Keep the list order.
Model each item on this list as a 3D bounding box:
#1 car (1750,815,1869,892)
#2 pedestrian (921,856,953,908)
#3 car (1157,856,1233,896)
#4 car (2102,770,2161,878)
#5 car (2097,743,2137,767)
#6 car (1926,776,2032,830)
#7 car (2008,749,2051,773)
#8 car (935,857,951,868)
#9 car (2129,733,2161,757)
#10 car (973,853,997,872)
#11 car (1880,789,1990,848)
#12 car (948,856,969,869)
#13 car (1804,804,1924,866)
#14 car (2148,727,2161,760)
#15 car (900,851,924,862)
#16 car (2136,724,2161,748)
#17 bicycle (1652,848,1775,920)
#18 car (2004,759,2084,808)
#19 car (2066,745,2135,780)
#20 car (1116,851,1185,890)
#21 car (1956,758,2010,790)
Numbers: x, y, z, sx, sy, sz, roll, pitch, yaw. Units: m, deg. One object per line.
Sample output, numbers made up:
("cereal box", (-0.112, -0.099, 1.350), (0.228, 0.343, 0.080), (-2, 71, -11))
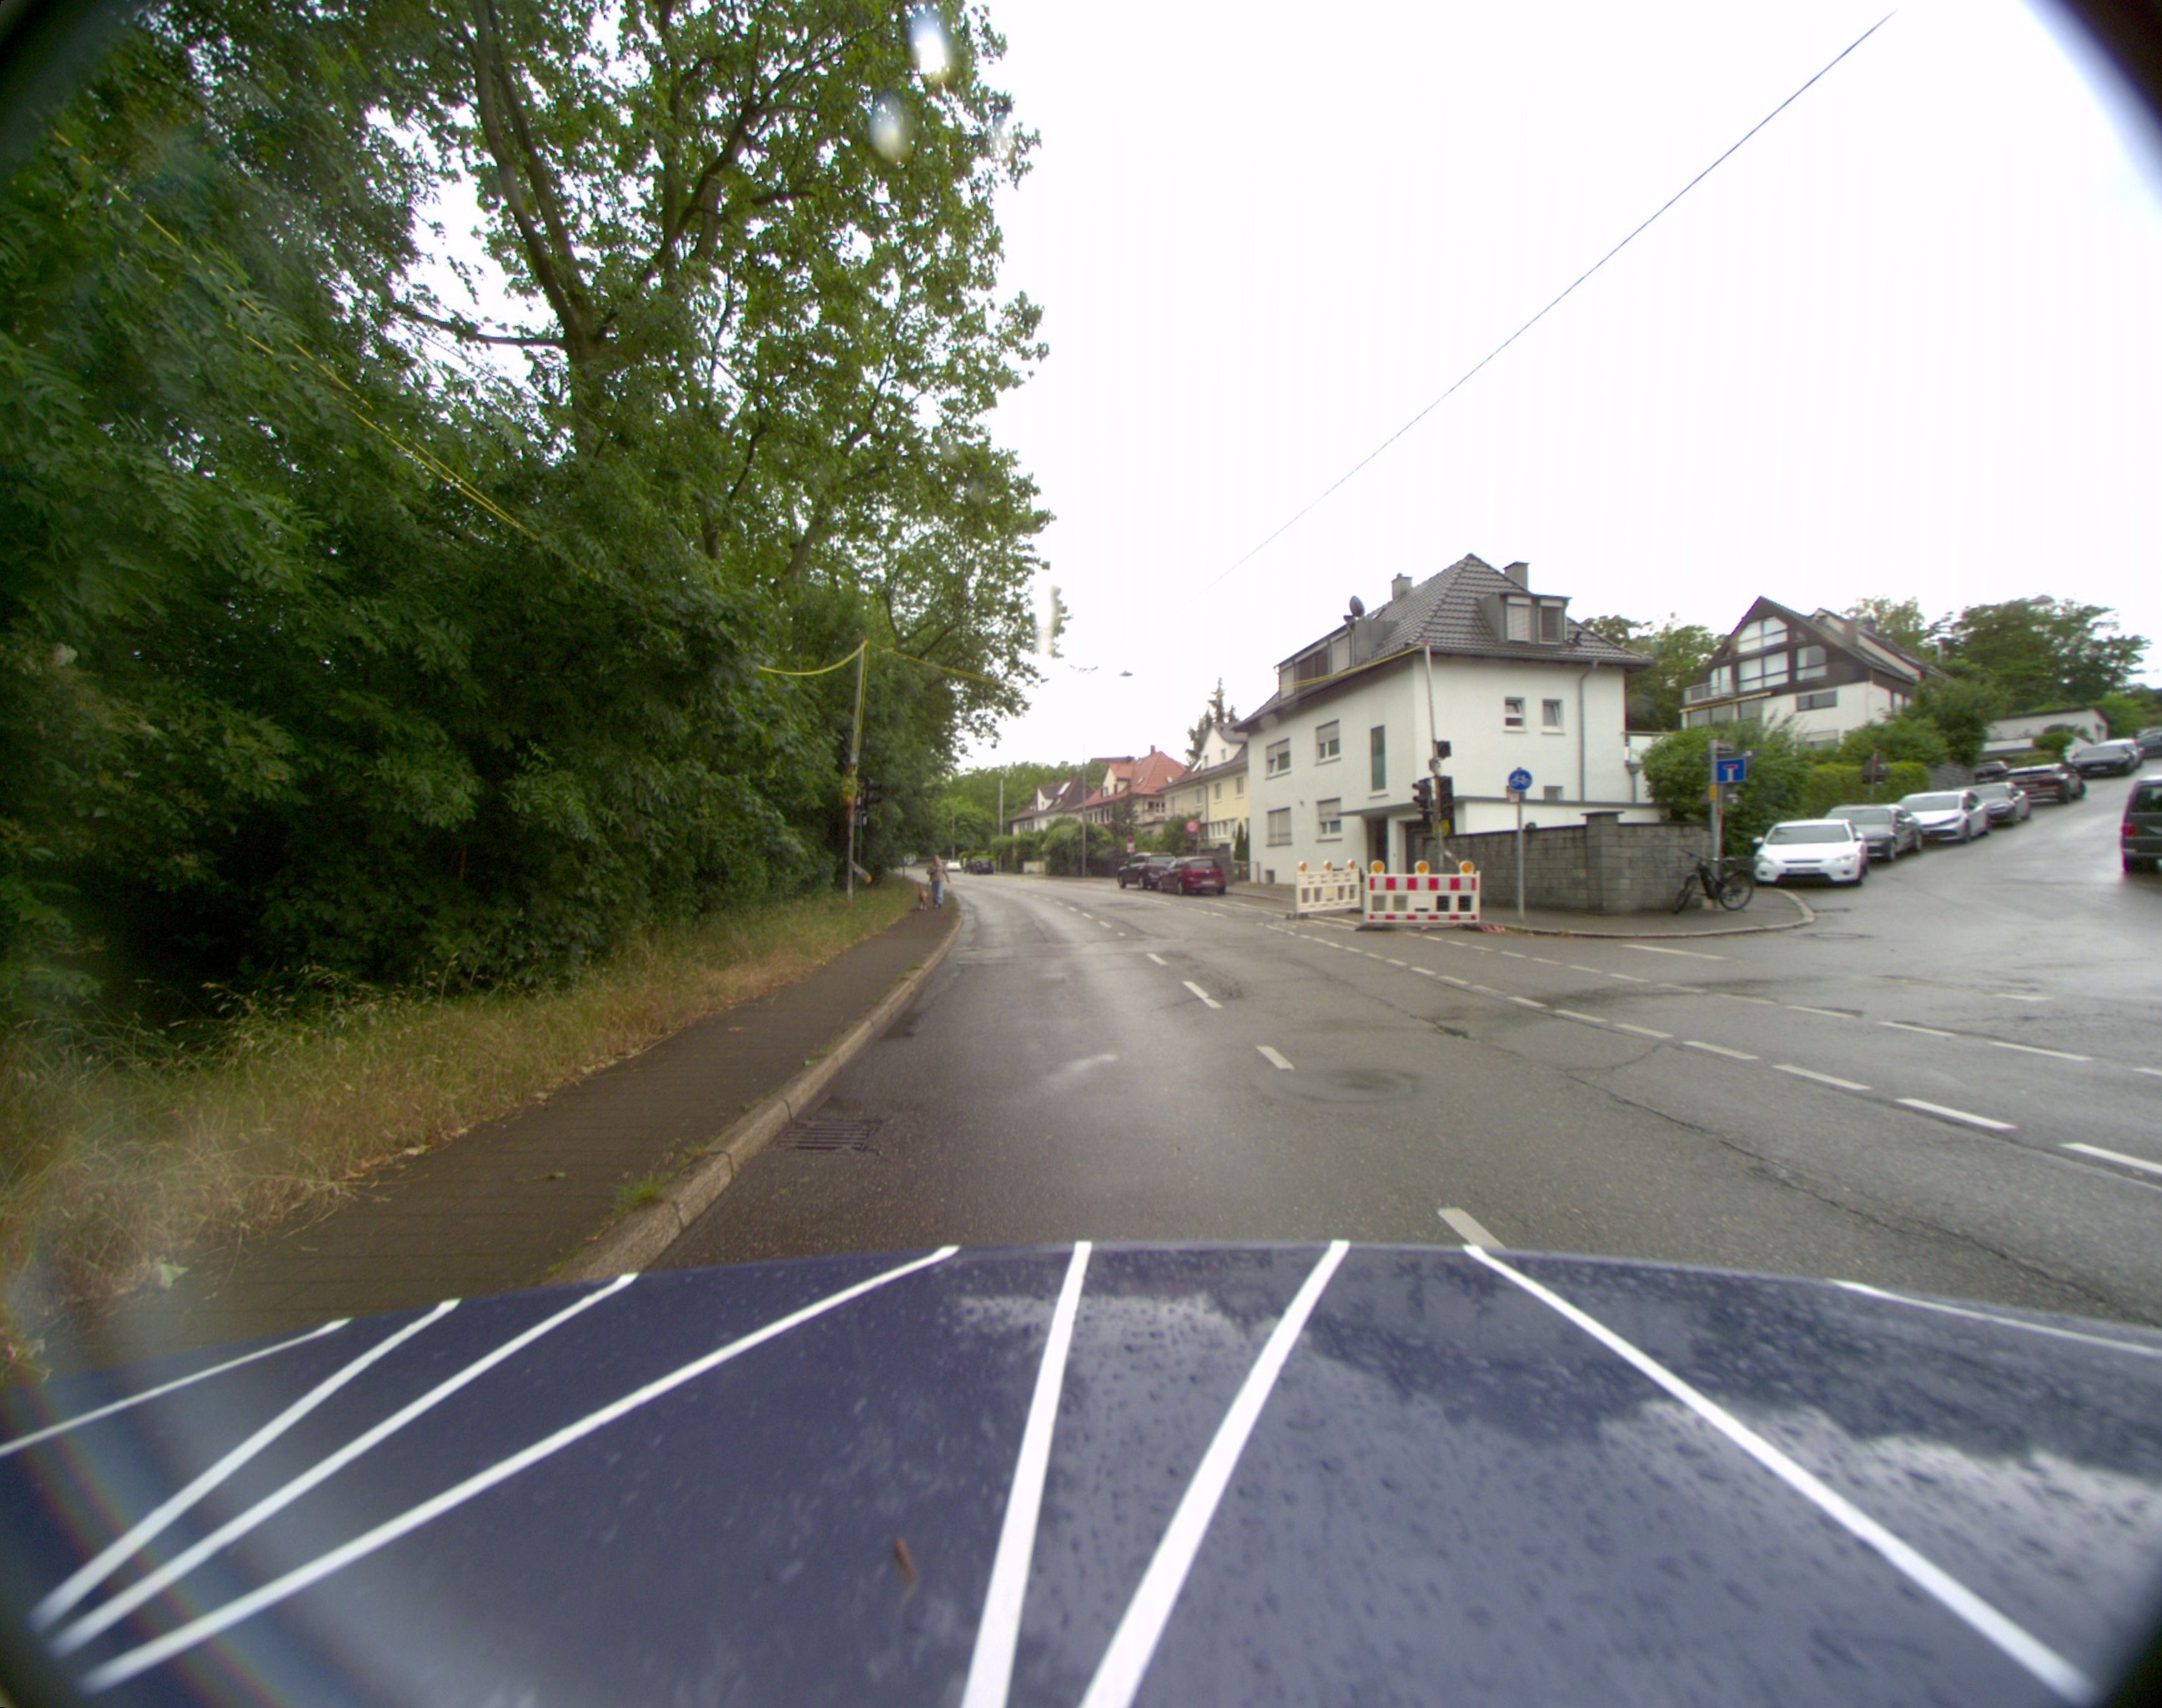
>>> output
("car", (17.794, -0.050, 18.492), (4.126, 1.455, 1.849), (-7, 4, -43))
("pedestrian", (-4.265, 0.815, 22.528), (0.735, 1.490, 0.785), (-3, 1, -1))
("car", (4.385, 0.815, 29.905), (1.787, 1.423, 3.844), (-2, 0, -10))
("car", (23.885, -0.754, 16.261), (4.497, 2.003, 1.996), (-7, 3, -31))
("car", (59.839, -5.746, 43.898), (2.988, 1.191, 1.305), (-6, 3, -35))
("car", (32.329, -1.835, 27.334), (4.111, 1.430, 1.921), (-9, 4, -33))
("car", (57.241, -5.643, 45.865), (3.656, 1.205, 1.577), (-7, 3, -38))
("car", (-18.741, 1.127, 103.011), (1.691, 1.419, 3.770), (-2, 0, -17))
("car", (68.327, -6.942, 47.698), (1.286, 1.310, 2.945), (-3, 1, -36))
("car", (-9.607, 0.838, 75.955), (1.882, 1.814, 4.121), (-2, 0, -14))
("car", (27.272, -1.155, 24.231), (3.951, 1.462, 1.755), (-7, 3, -33))
("car", (-15.233, 1.066, 94.176), (2.071, 1.477, 4.556), (-2, 0, -16))
("car", (22.466, -0.560, 21.759), (3.910, 1.380, 1.719), (-7, 3, -34))
("car", (72.467, -7.452, 48.982), (2.003, 2.000, 3.993), (-2, -4, -32))
("car", (-27.147, 0.384, 122.097), (1.997, 1.772, 4.626), (-2, 0, 11))
("car", (81.120, -8.873, 55.960), (1.754, 1.508, 3.961), (-3, 1, -35))
("bicycle", (11.590, 0.535, 13.935), (2.006, 1.233, 0.510), (-2, 3, -8))
("car", (40.721, -2.986, 32.112), (4.004, 1.617, 1.638), (-8, 4, -32))
("car", (54.817, -4.883, 40.841), (4.034, 1.511, 1.786), (-2, 0, -31))
("car", (3.132, 0.729, 35.033), (1.798, 1.630, 4.150), (-1, 0, -15))
("car", (52.869, -4.653, 44.517), (4.020, 1.545, 1.812), (-3, 1, -37))
